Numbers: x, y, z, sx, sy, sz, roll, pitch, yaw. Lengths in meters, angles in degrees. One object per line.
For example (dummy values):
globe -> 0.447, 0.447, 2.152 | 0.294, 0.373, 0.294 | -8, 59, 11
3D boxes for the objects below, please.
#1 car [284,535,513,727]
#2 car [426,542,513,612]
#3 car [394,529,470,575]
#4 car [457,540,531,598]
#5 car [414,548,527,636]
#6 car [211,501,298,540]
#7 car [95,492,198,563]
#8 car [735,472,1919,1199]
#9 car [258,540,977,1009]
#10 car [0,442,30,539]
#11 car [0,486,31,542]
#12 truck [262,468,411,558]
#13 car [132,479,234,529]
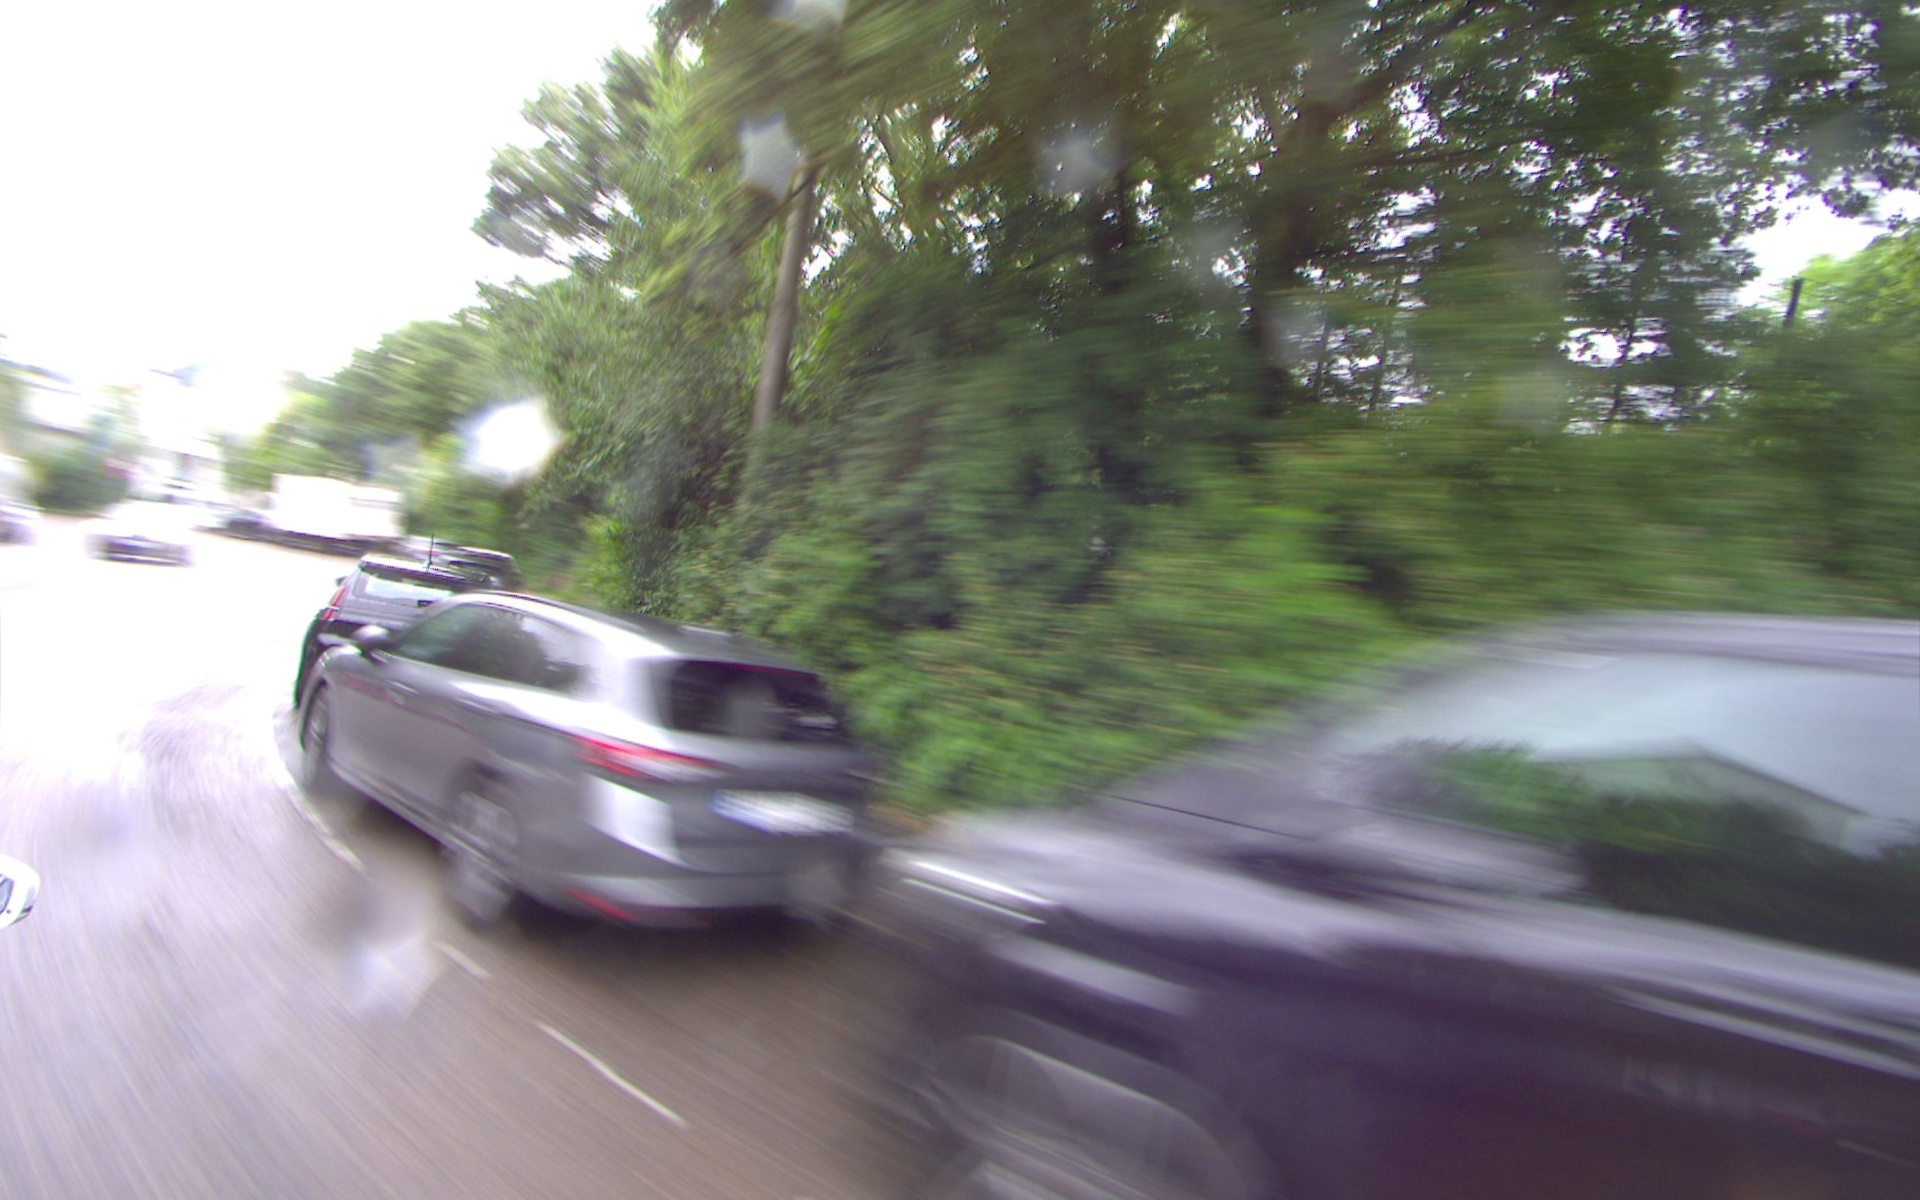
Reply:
car -> -5.899, 0.238, 10.852 | 1.614, 1.504, 3.720 | 11, -2, -26
car -> -12.646, -0.656, 26.116 | 1.644, 1.441, 3.945 | 9, 0, -23
car -> -21.642, -1.985, 41.160 | 1.714, 1.463, 4.074 | 5, 2, -43
car -> -14.543, -1.011, 31.281 | 1.741, 1.417, 4.065 | 8, 0, -28
car -> -9.991, -0.213, 20.780 | 1.575, 1.405, 3.803 | 10, -1, -21
car -> -36.569, -4.127, 52.150 | 4.199, 1.577, 1.720 | 7, 4, 23
car -> -21.951, -1.965, 27.294 | 1.857, 1.535, 4.439 | 7, 0, -36
car -> 2.139, 0.978, 2.535 | 4.948, 1.907, 2.001 | 7, -3, 27
car -> -2.387, 0.674, 6.021 | 4.809, 1.504, 1.900 | 7, -3, 43
car -> -26.218, -2.988, 25.817 | 2.059, 2.581, 6.294 | 6, 0, -31
car -> -30.568, -2.759, 31.707 | 1.796, 1.603, 3.977 | 5, 0, -43
truck -> -30.236, -4.256, 48.641 | 8.206, 3.620, 3.006 | 7, 2, 35
car -> -42.173, -5.210, 54.597 | 4.602, 2.039, 1.883 | 7, 0, 16
